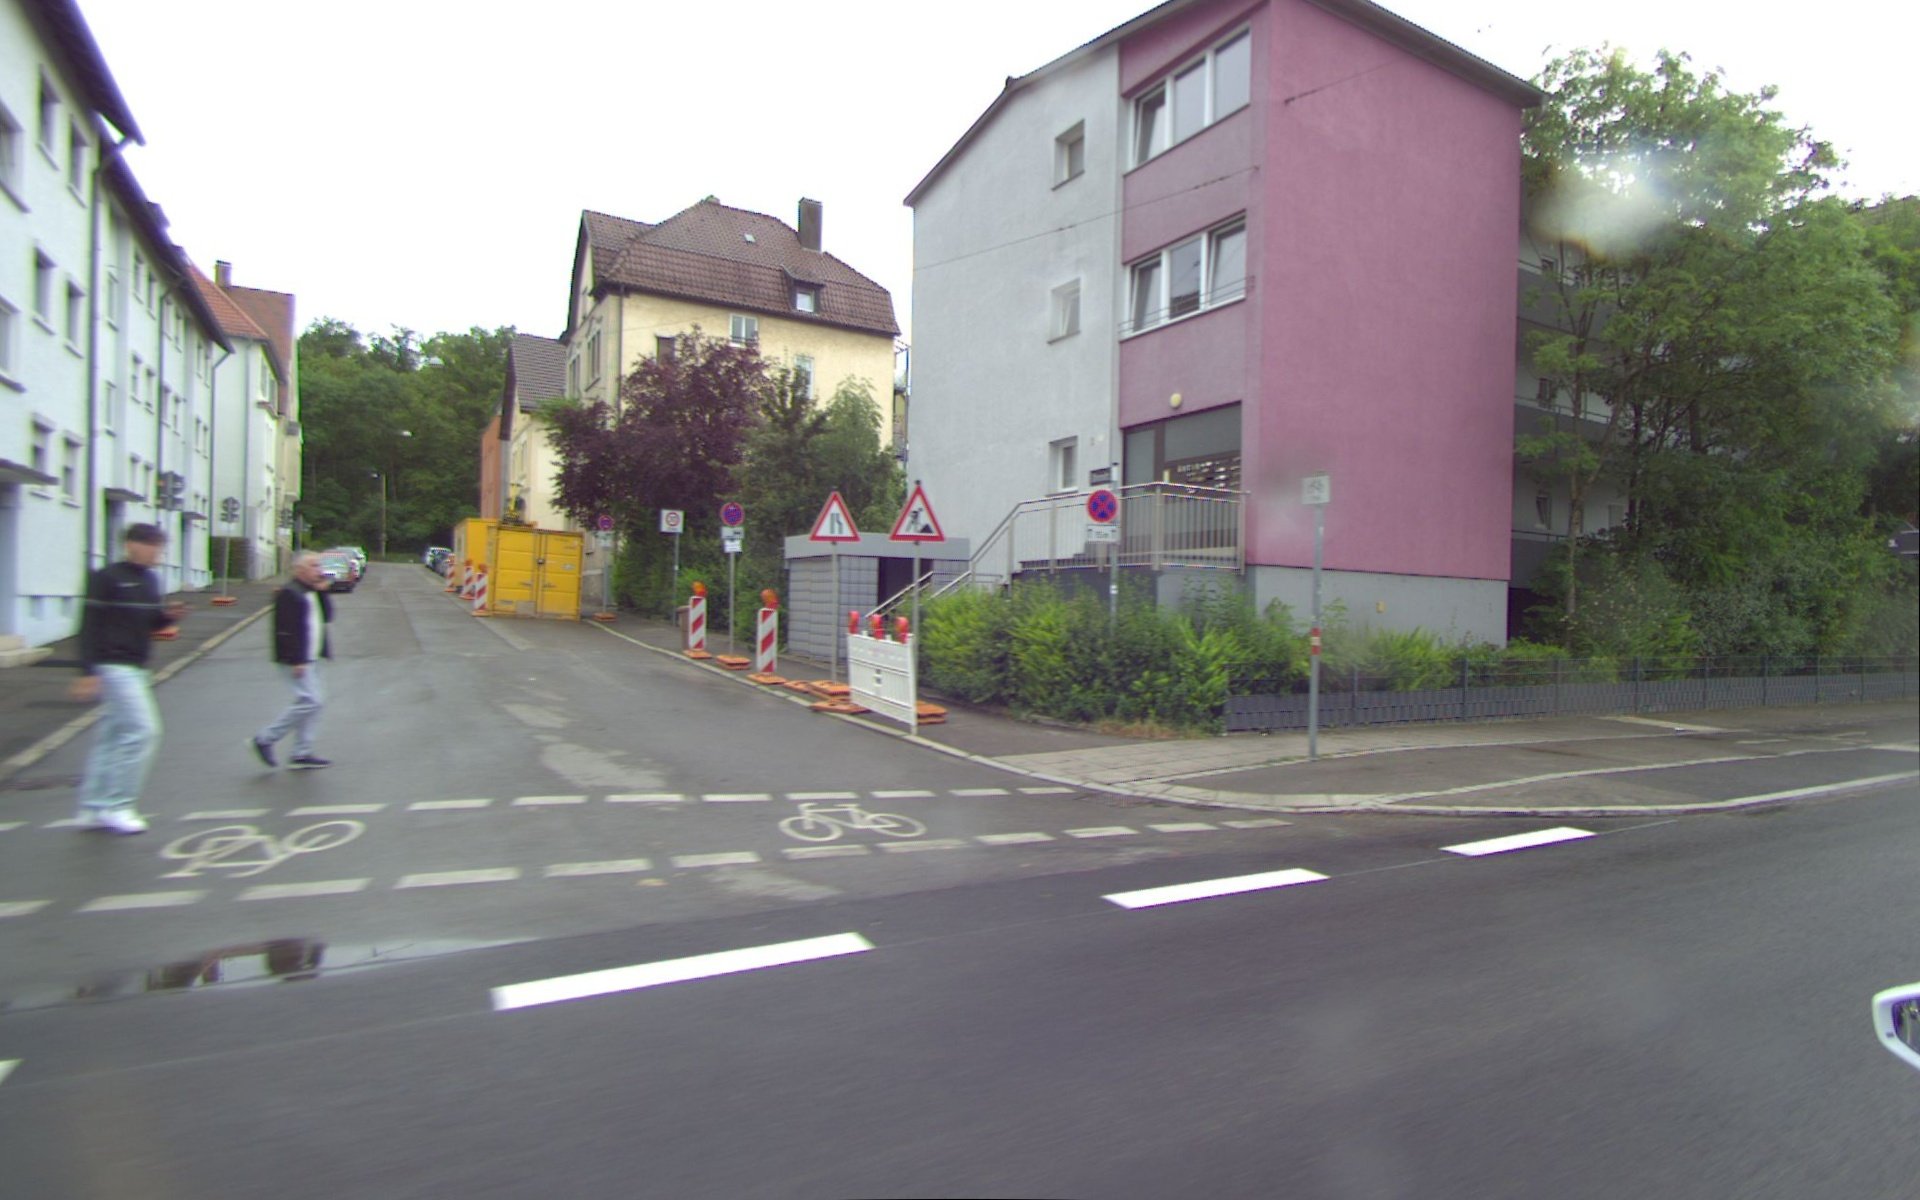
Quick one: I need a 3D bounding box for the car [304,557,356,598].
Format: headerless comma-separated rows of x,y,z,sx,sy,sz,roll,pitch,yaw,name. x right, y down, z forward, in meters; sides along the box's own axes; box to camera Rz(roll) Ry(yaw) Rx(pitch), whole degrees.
-24.257,-0.888,38.699,1.611,1.428,3.371,0,3,-32,car

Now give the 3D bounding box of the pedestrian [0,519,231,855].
-5.277,0.500,6.324,1.032,1.908,0.857,0,0,-32,pedestrian

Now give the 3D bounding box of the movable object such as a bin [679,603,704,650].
-5.721,0.555,21.411,0.429,0.992,0.325,1,0,-35,movable object such as a bin

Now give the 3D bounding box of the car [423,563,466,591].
-25.340,-1.144,49.328,1.611,1.230,3.372,0,3,-32,car

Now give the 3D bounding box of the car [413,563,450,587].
-29.583,-1.418,56.172,1.611,1.230,3.372,0,3,-32,car

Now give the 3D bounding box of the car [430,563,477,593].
-22.936,-1.017,45.449,1.611,1.230,3.372,0,3,-32,car

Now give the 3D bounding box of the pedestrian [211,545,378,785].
-5.470,0.493,8.333,1.103,1.846,0.802,0,1,-31,pedestrian

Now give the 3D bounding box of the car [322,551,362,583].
-30.097,-1.633,48.938,1.611,1.428,3.372,0,3,-32,car

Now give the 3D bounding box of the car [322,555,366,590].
-26.969,-1.216,43.980,1.611,1.428,3.372,0,3,-32,car
